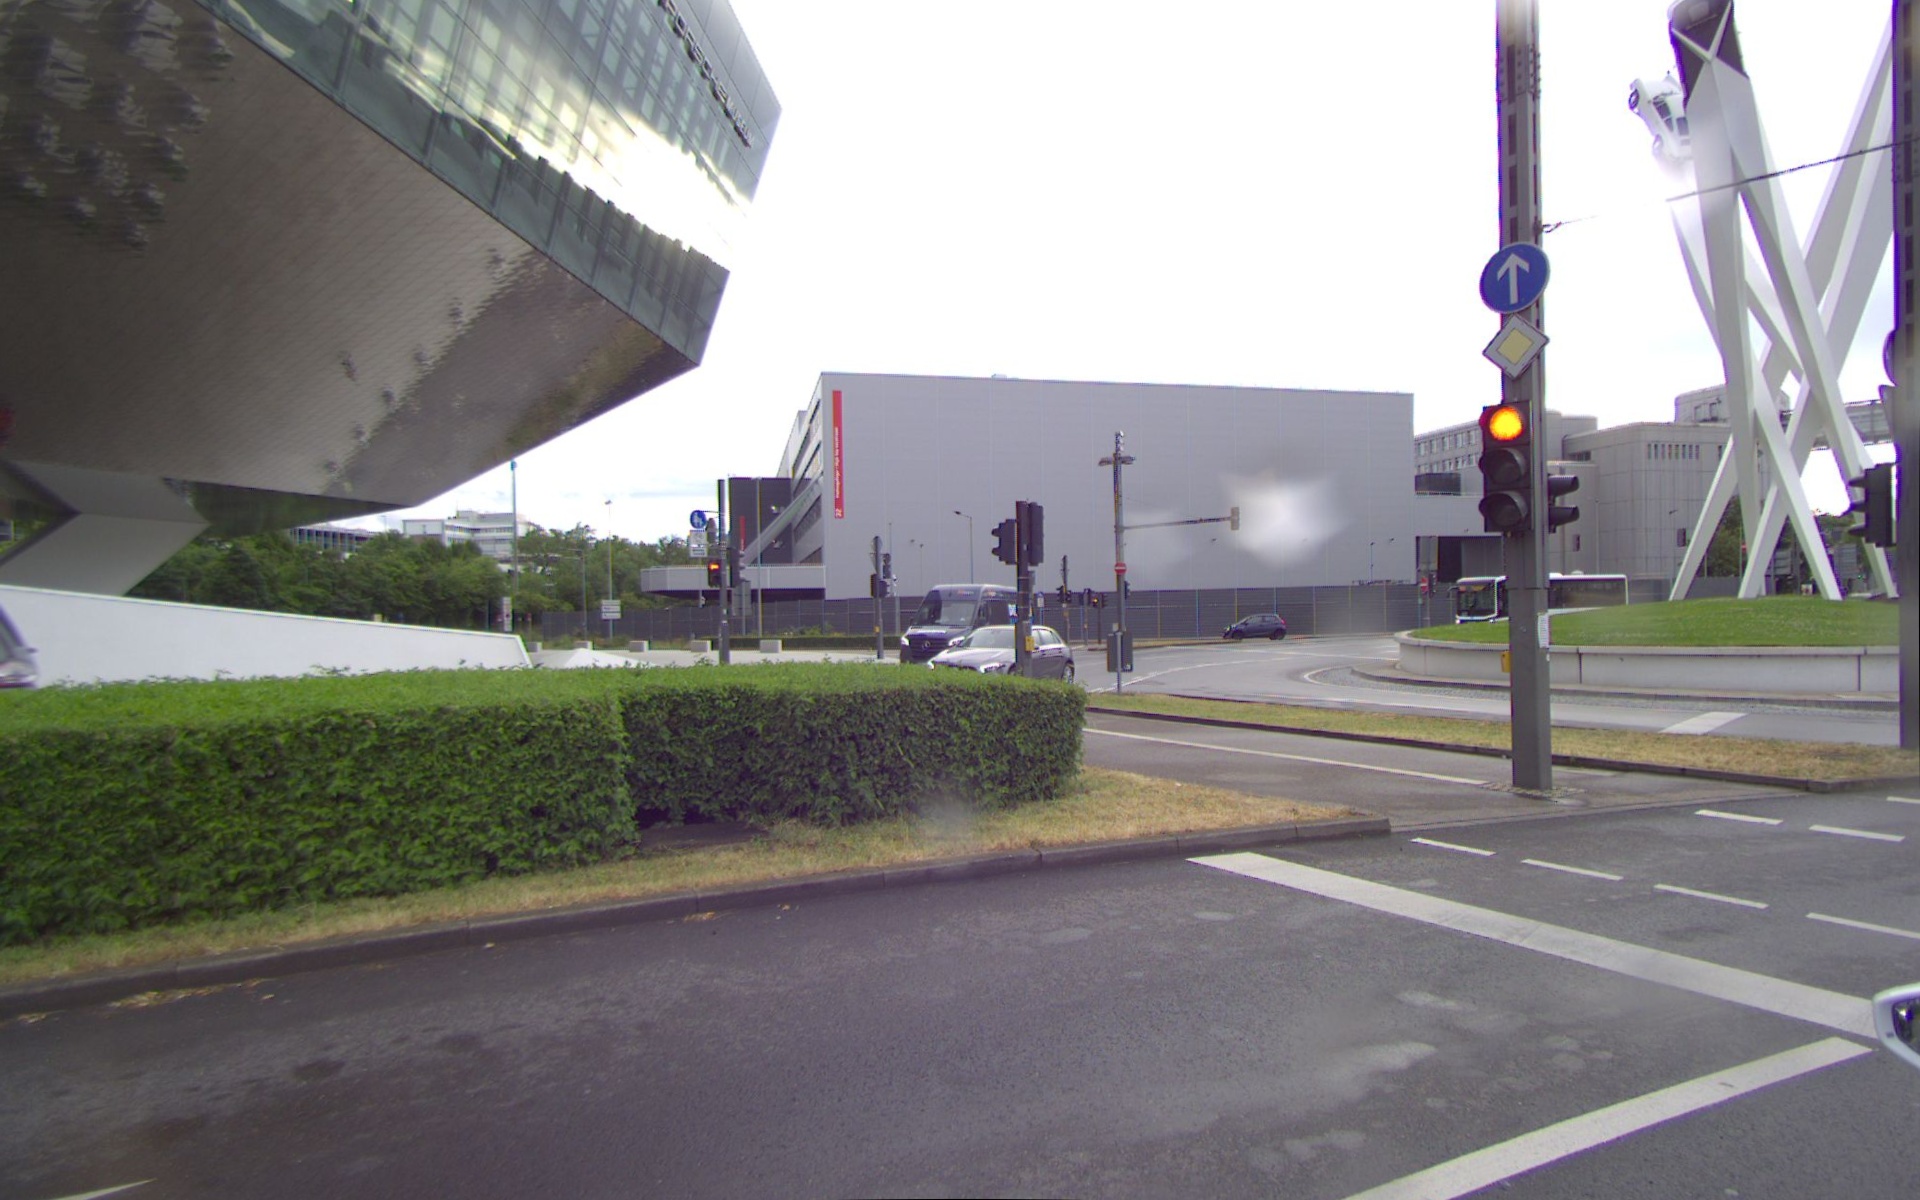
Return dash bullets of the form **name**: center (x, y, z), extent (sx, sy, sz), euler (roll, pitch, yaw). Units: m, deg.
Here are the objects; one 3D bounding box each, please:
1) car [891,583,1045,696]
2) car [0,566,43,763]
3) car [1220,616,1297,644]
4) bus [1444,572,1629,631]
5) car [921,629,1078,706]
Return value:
- **car**: center (0.462, 1.053, 28.964), extent (1.935, 2.858, 7.125), euler (0, -1, 22)
- **car**: center (-8.640, 0.416, 6.077), extent (1.814, 1.356, 4.460), euler (0, -1, 43)
- **car**: center (16.833, 1.657, 56.840), extent (3.919, 1.506, 1.780), euler (0, 0, 7)
- **bus**: center (33.841, 0.160, 58.718), extent (12.496, 3.243, 2.661), euler (1, 0, -25)
- **car**: center (0.930, 1.308, 20.674), extent (1.615, 1.356, 4.067), euler (0, -1, 28)
